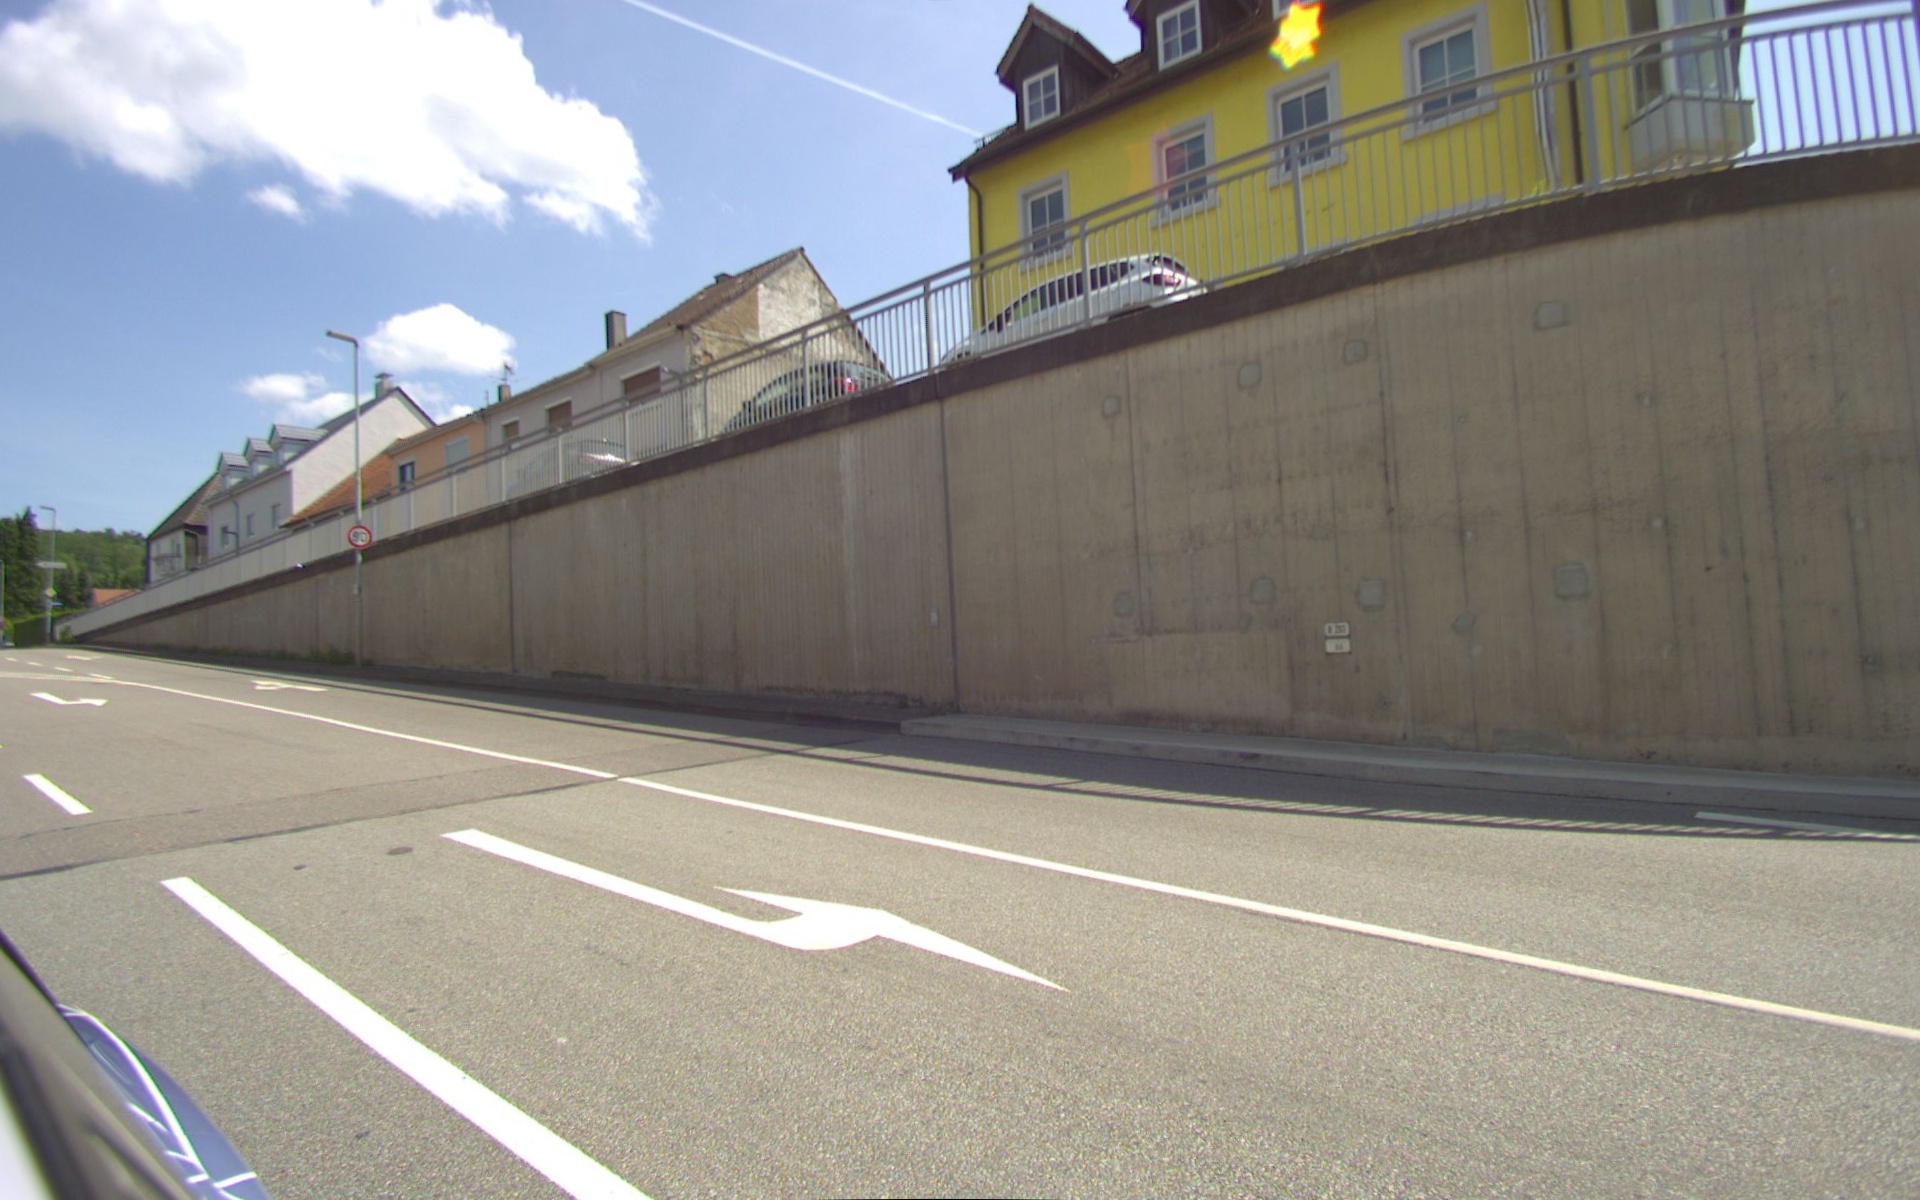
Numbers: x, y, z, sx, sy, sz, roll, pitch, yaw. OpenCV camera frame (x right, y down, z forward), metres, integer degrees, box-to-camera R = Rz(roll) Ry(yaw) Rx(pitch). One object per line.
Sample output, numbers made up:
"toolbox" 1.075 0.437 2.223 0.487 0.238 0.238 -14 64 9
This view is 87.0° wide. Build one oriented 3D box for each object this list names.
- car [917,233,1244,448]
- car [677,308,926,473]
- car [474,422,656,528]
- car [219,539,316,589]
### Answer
"car" 1.548 -3.324 13.786 3.996 1.681 1.883 -4 -3 40
"car" -2.767 -3.398 17.182 4.218 1.718 1.804 -4 -3 39
"car" -8.678 -2.628 22.071 4.388 1.536 1.780 -4 -3 39
"car" -25.292 -1.261 36.921 4.388 1.416 1.768 -4 -3 39
